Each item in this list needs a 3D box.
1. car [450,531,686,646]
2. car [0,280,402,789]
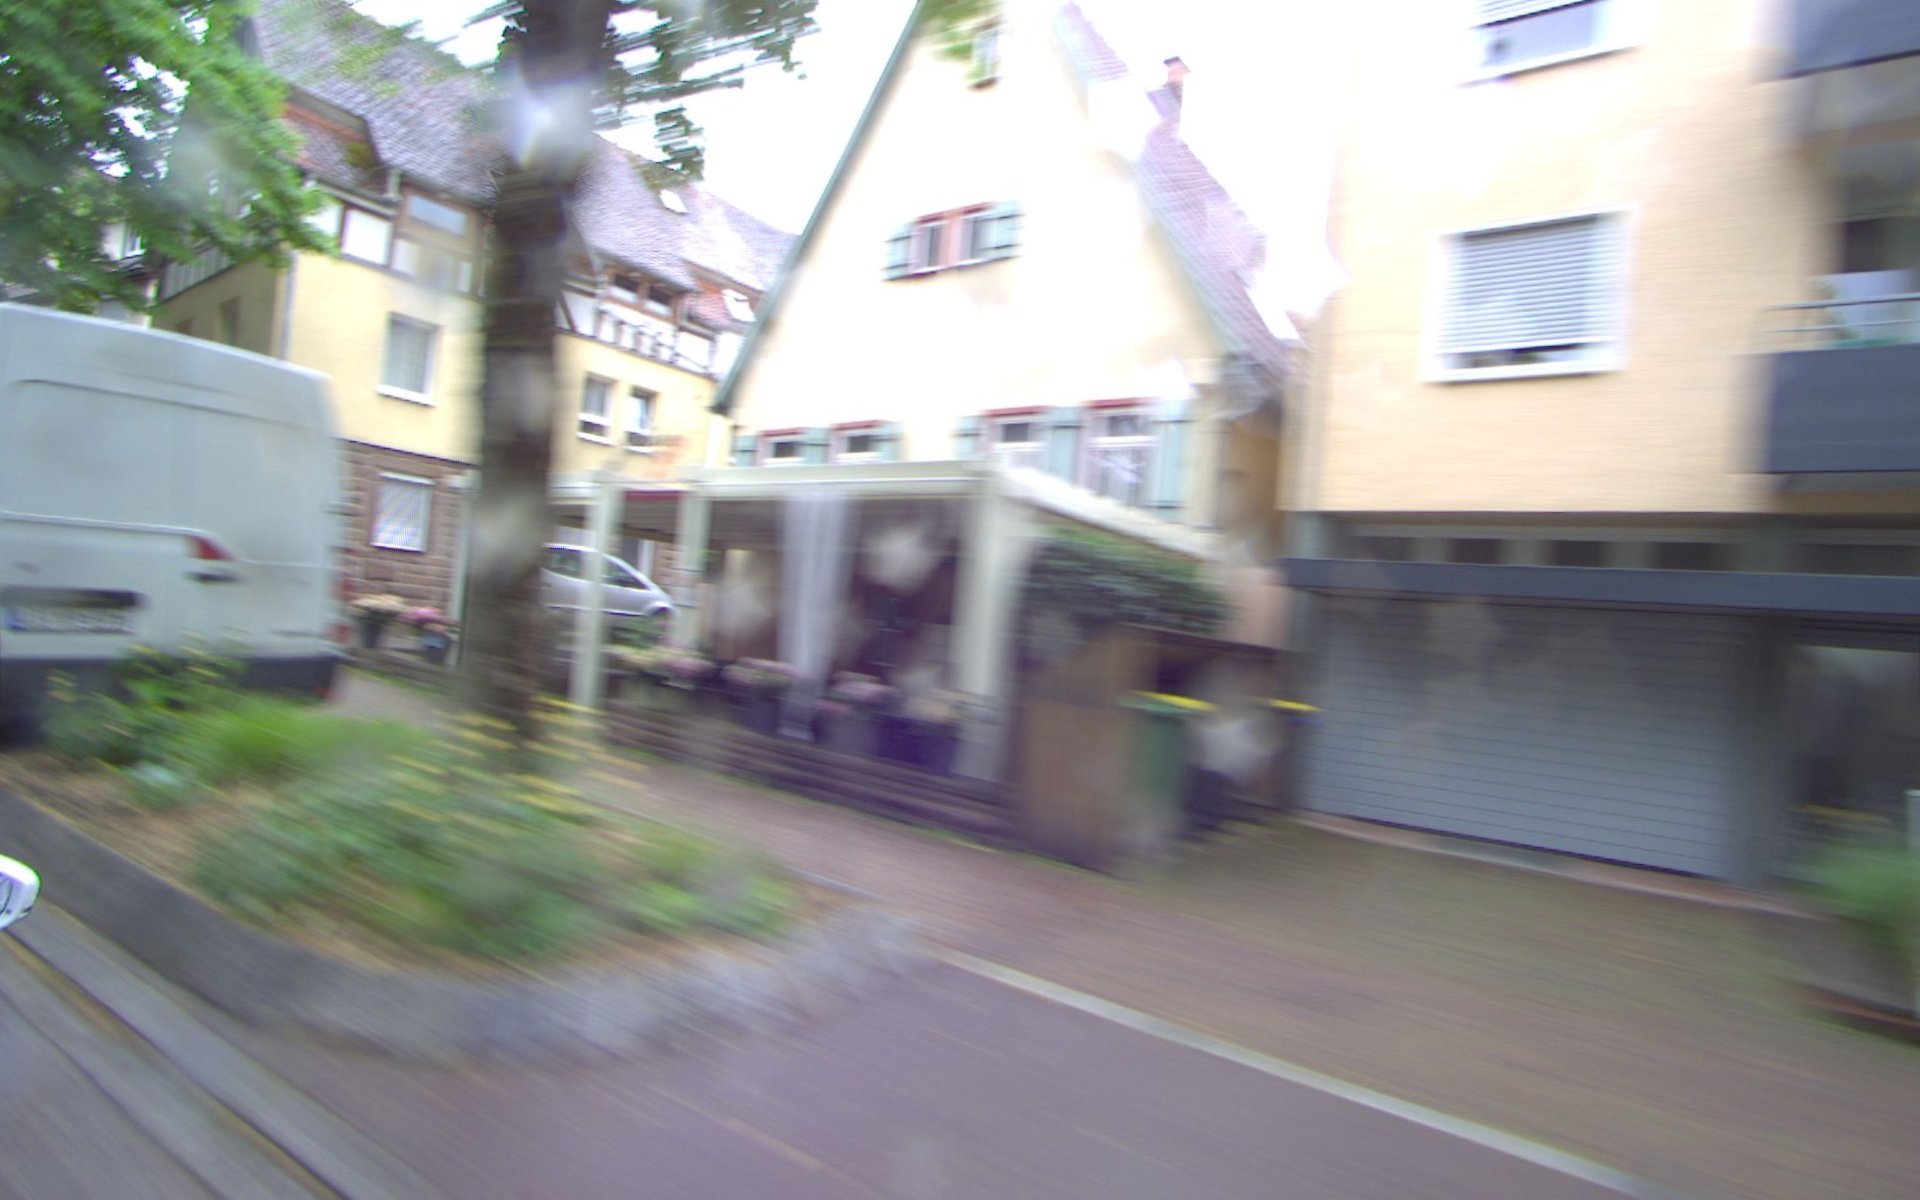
[{"bbox_3d":[-6.581,-0.149,17.126,1.637,1.615,3.281,6,0,39],"label":"car"},{"bbox_3d":[-6.588,-0.480,7.039,5.345,2.489,2.145,7,-1,32],"label":"car"}]
